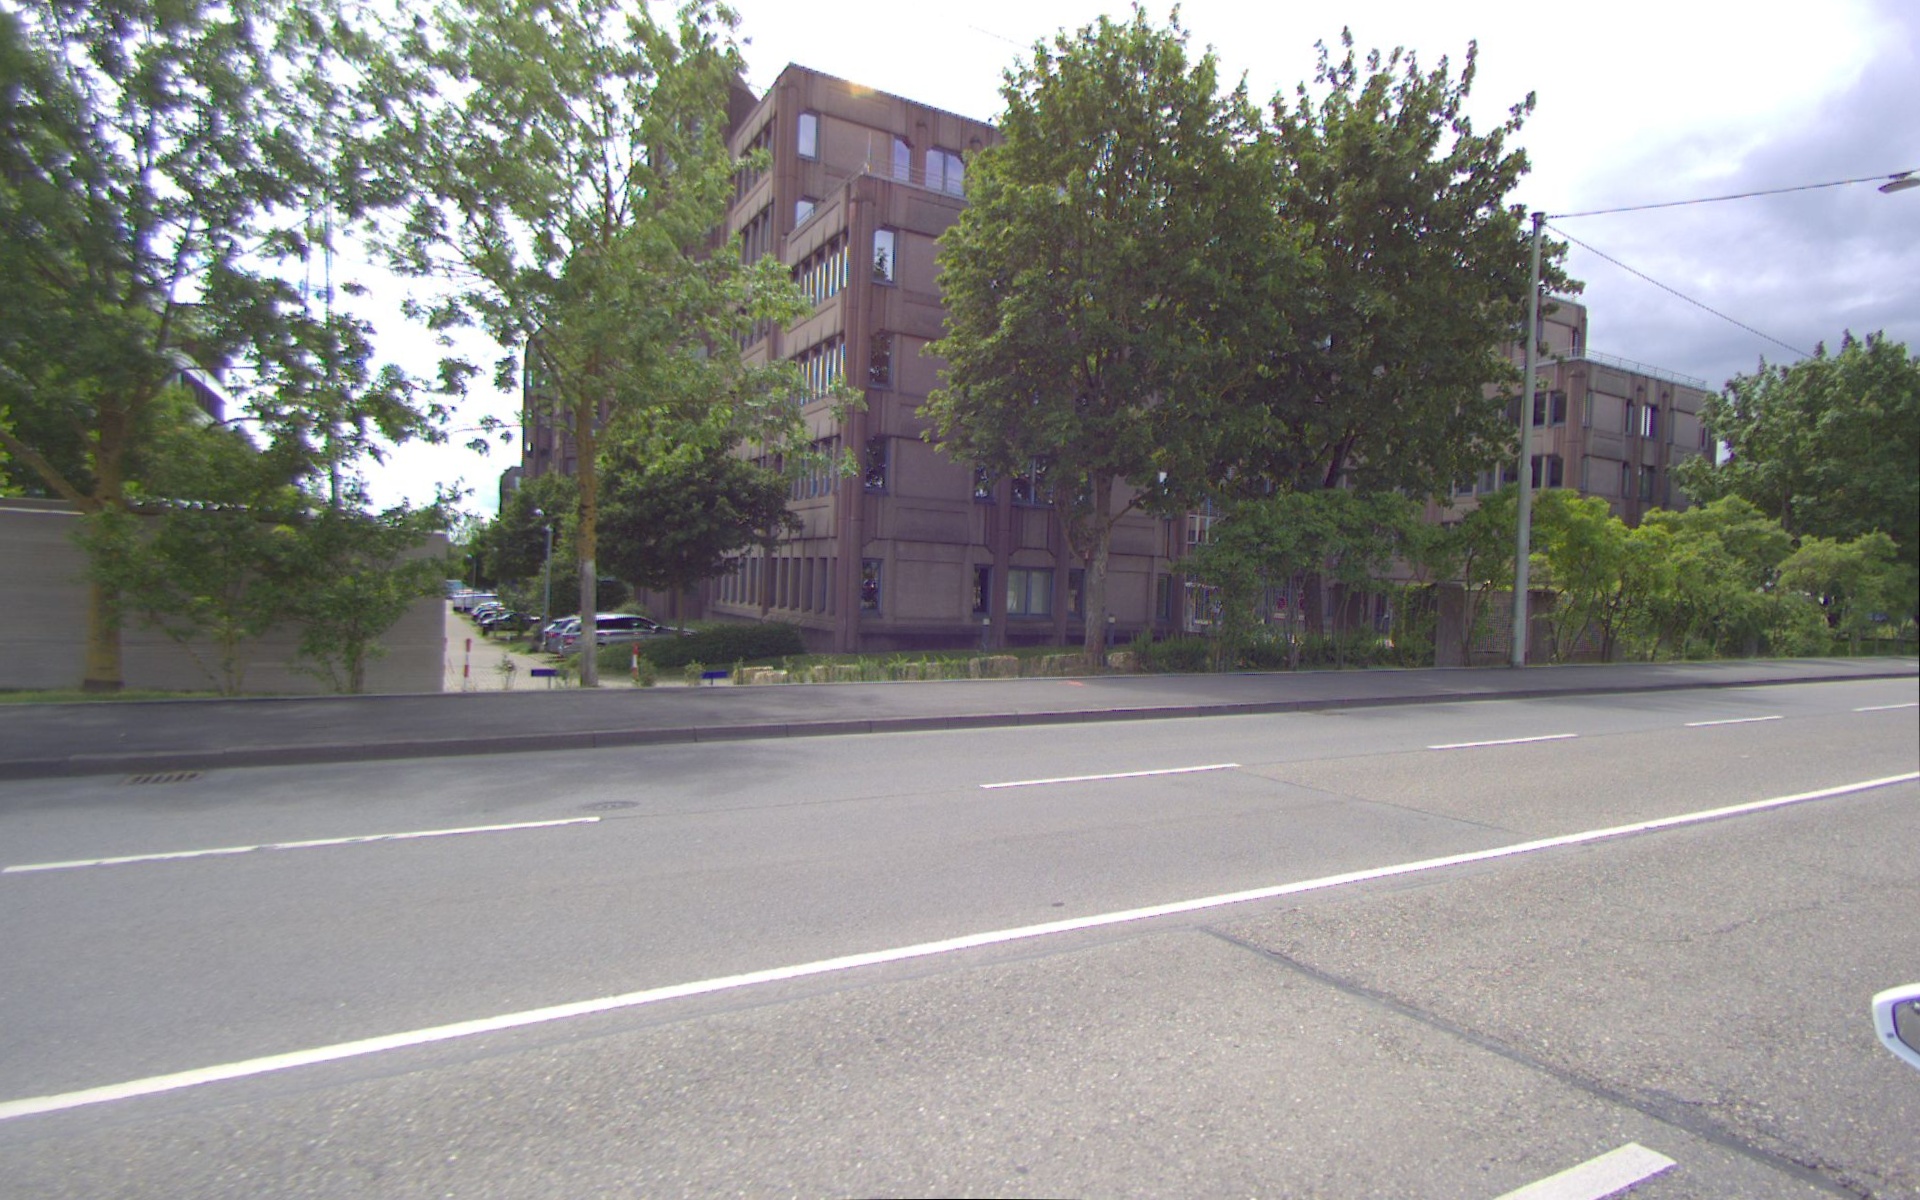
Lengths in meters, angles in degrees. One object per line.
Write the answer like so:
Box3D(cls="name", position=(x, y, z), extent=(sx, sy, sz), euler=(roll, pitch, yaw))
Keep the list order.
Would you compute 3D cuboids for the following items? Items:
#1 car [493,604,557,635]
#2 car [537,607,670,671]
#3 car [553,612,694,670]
Box3D(cls="car", position=(-31.147, 1.400, 71.959), extent=(3.953, 2.040, 1.984), euler=(2, 1, -30))
Box3D(cls="car", position=(-12.240, 1.386, 34.542), extent=(3.957, 2.039, 1.983), euler=(2, -6, -33))
Box3D(cls="car", position=(-10.811, 1.329, 32.342), extent=(3.955, 1.684, 1.983), euler=(2, 1, -31))
